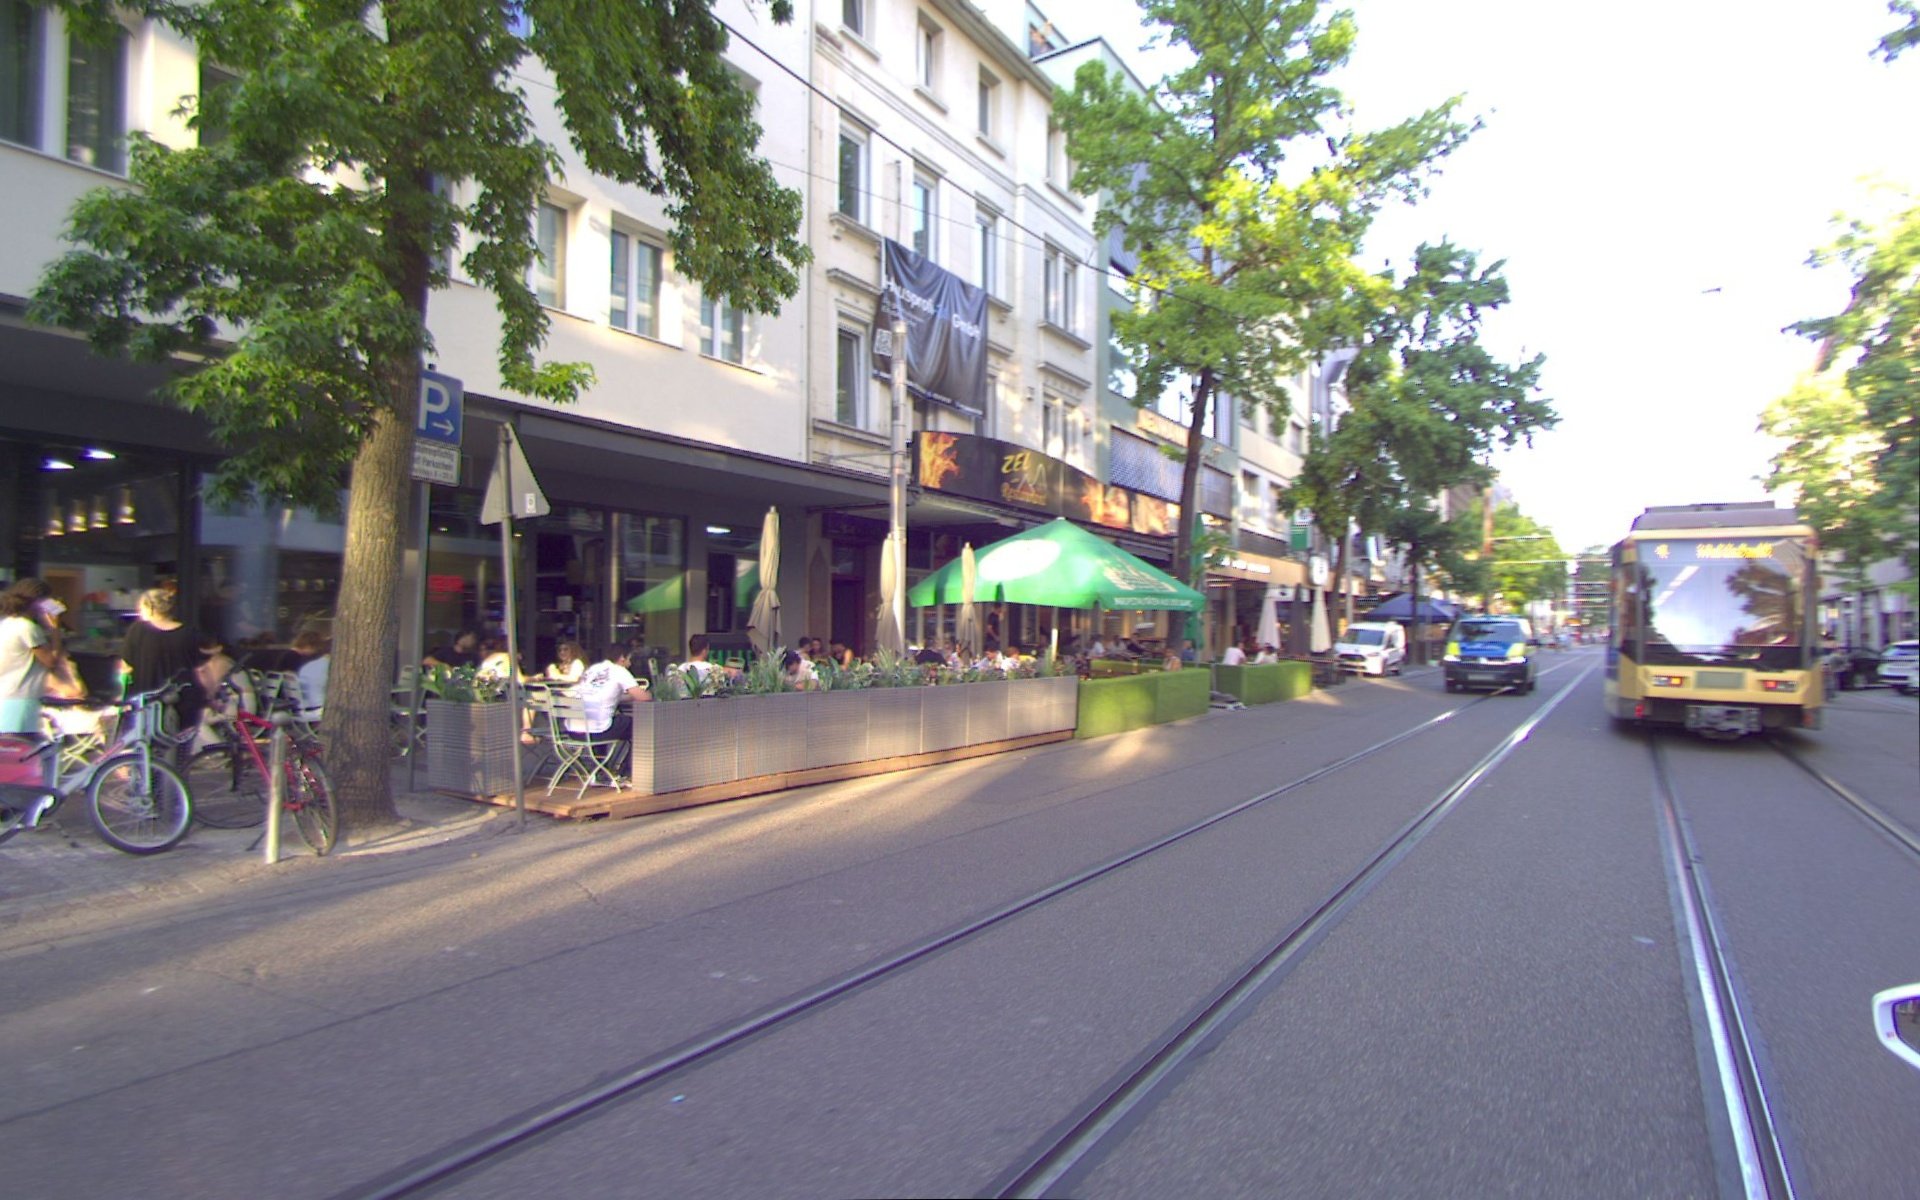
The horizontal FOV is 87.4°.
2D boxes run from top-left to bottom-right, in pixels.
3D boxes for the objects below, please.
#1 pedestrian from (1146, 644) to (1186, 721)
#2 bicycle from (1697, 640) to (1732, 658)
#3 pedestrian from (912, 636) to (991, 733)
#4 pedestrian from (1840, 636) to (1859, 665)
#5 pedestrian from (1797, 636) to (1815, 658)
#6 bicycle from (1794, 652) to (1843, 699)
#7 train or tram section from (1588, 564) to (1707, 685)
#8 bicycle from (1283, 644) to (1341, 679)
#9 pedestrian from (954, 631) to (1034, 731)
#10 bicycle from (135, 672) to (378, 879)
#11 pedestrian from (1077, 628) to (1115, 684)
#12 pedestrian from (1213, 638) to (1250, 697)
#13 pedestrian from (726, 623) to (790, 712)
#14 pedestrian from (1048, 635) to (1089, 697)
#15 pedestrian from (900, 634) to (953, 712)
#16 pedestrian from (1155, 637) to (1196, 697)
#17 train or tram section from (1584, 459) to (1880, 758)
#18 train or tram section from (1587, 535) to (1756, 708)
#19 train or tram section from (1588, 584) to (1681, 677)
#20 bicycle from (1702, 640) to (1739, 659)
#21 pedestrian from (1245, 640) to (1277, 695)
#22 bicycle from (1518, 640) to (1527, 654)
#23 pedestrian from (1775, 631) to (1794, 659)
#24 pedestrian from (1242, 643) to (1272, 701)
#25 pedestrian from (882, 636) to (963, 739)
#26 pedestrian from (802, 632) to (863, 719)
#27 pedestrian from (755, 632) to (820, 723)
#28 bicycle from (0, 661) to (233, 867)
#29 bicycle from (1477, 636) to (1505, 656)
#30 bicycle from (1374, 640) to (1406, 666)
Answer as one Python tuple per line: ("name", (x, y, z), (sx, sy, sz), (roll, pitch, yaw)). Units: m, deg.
("pedestrian", (3.857, 1.535, 18.802), (0.540, 1.396, 0.563), (0, -2, 34))
("bicycle", (63.712, 4.117, 84.863), (2.294, 1.491, 0.790), (0, -2, 30))
("pedestrian", (-0.120, 1.250, 15.090), (0.706, 1.380, 1.008), (0, -2, 35))
("pedestrian", (51.625, 2.924, 58.319), (0.691, 1.659, 0.644), (-3, -2, 34))
("pedestrian", (54.555, 3.031, 64.769), (0.730, 1.345, 0.718), (-3, -2, 34))
("bicycle", (21.468, 1.861, 25.158), (0.647, 1.074, 2.052), (1, -1, 33))
("train or tram section", (23.617, 0.923, 34.945), (2.961, 3.570, 10.819), (0, -2, 32))
("bicycle", (11.511, 2.002, 32.857), (1.994, 1.082, 0.609), (2, -2, -28))
("pedestrian", (0.509, 1.163, 14.686), (0.706, 1.380, 1.008), (0, -2, 35))
("bicycle", (-4.768, 1.106, 6.774), (1.834, 1.154, 0.625), (0, -2, 31))
("pedestrian", (3.476, 1.419, 25.669), (0.681, 1.396, 0.763), (0, -2, 34))
("pedestrian", (6.569, 1.624, 24.317), (0.635, 1.363, 0.729), (0, -2, 35))
("pedestrian", (-3.296, 1.091, 16.430), (0.645, 1.396, 0.763), (0, -2, 34))
("pedestrian", (2.514, 1.514, 23.277), (0.645, 1.396, 0.763), (0, -2, 34))
("pedestrian", (-0.621, 1.335, 18.669), (0.645, 1.396, 0.763), (0, -2, 34))
("pedestrian", (4.752, 1.459, 22.110), (0.699, 1.281, 0.598), (0, -2, 34))
("train or tram section", (12.477, 0.310, 17.193), (2.974, 3.570, 10.346), (-1, -2, 32))
("train or tram section", (17.982, 0.620, 25.976), (2.965, 3.570, 10.377), (0, -2, 32))
("train or tram section", (29.292, 1.333, 43.970), (3.002, 3.570, 10.506), (1, -2, 32))
("bicycle", (61.609, 3.995, 81.362), (2.294, 1.491, 0.790), (0, -2, 30))
("pedestrian", (7.162, 1.604, 23.922), (0.544, 1.283, 0.640), (0, -2, 34))
("bicycle", (46.282, 3.886, 82.647), (0.602, 1.141, 2.249), (3, -1, 28))
("pedestrian", (55.538, 3.029, 67.687), (0.875, 1.805, 0.750), (0, -2, 32))
("pedestrian", (7.377, 1.775, 24.958), (0.571, 1.396, 0.563), (0, -2, 34))
("pedestrian", (-0.520, 1.202, 14.102), (0.706, 1.380, 0.921), (0, -2, 35))
("pedestrian", (-2.133, 1.253, 16.880), (0.645, 1.396, 0.763), (0, -2, 34))
("pedestrian", (-2.744, 1.214, 16.023), (0.645, 1.396, 0.763), (0, -2, 34))
("bicycle", (-5.861, 1.002, 6.456), (1.829, 1.154, 0.781), (1, -2, 6))
("bicycle", (39.595, 3.396, 74.903), (1.768, 1.378, 0.660), (3, -1, 22))
("bicycle", (19.584, 2.403, 45.782), (0.797, 1.118, 2.167), (0, -1, 7))
